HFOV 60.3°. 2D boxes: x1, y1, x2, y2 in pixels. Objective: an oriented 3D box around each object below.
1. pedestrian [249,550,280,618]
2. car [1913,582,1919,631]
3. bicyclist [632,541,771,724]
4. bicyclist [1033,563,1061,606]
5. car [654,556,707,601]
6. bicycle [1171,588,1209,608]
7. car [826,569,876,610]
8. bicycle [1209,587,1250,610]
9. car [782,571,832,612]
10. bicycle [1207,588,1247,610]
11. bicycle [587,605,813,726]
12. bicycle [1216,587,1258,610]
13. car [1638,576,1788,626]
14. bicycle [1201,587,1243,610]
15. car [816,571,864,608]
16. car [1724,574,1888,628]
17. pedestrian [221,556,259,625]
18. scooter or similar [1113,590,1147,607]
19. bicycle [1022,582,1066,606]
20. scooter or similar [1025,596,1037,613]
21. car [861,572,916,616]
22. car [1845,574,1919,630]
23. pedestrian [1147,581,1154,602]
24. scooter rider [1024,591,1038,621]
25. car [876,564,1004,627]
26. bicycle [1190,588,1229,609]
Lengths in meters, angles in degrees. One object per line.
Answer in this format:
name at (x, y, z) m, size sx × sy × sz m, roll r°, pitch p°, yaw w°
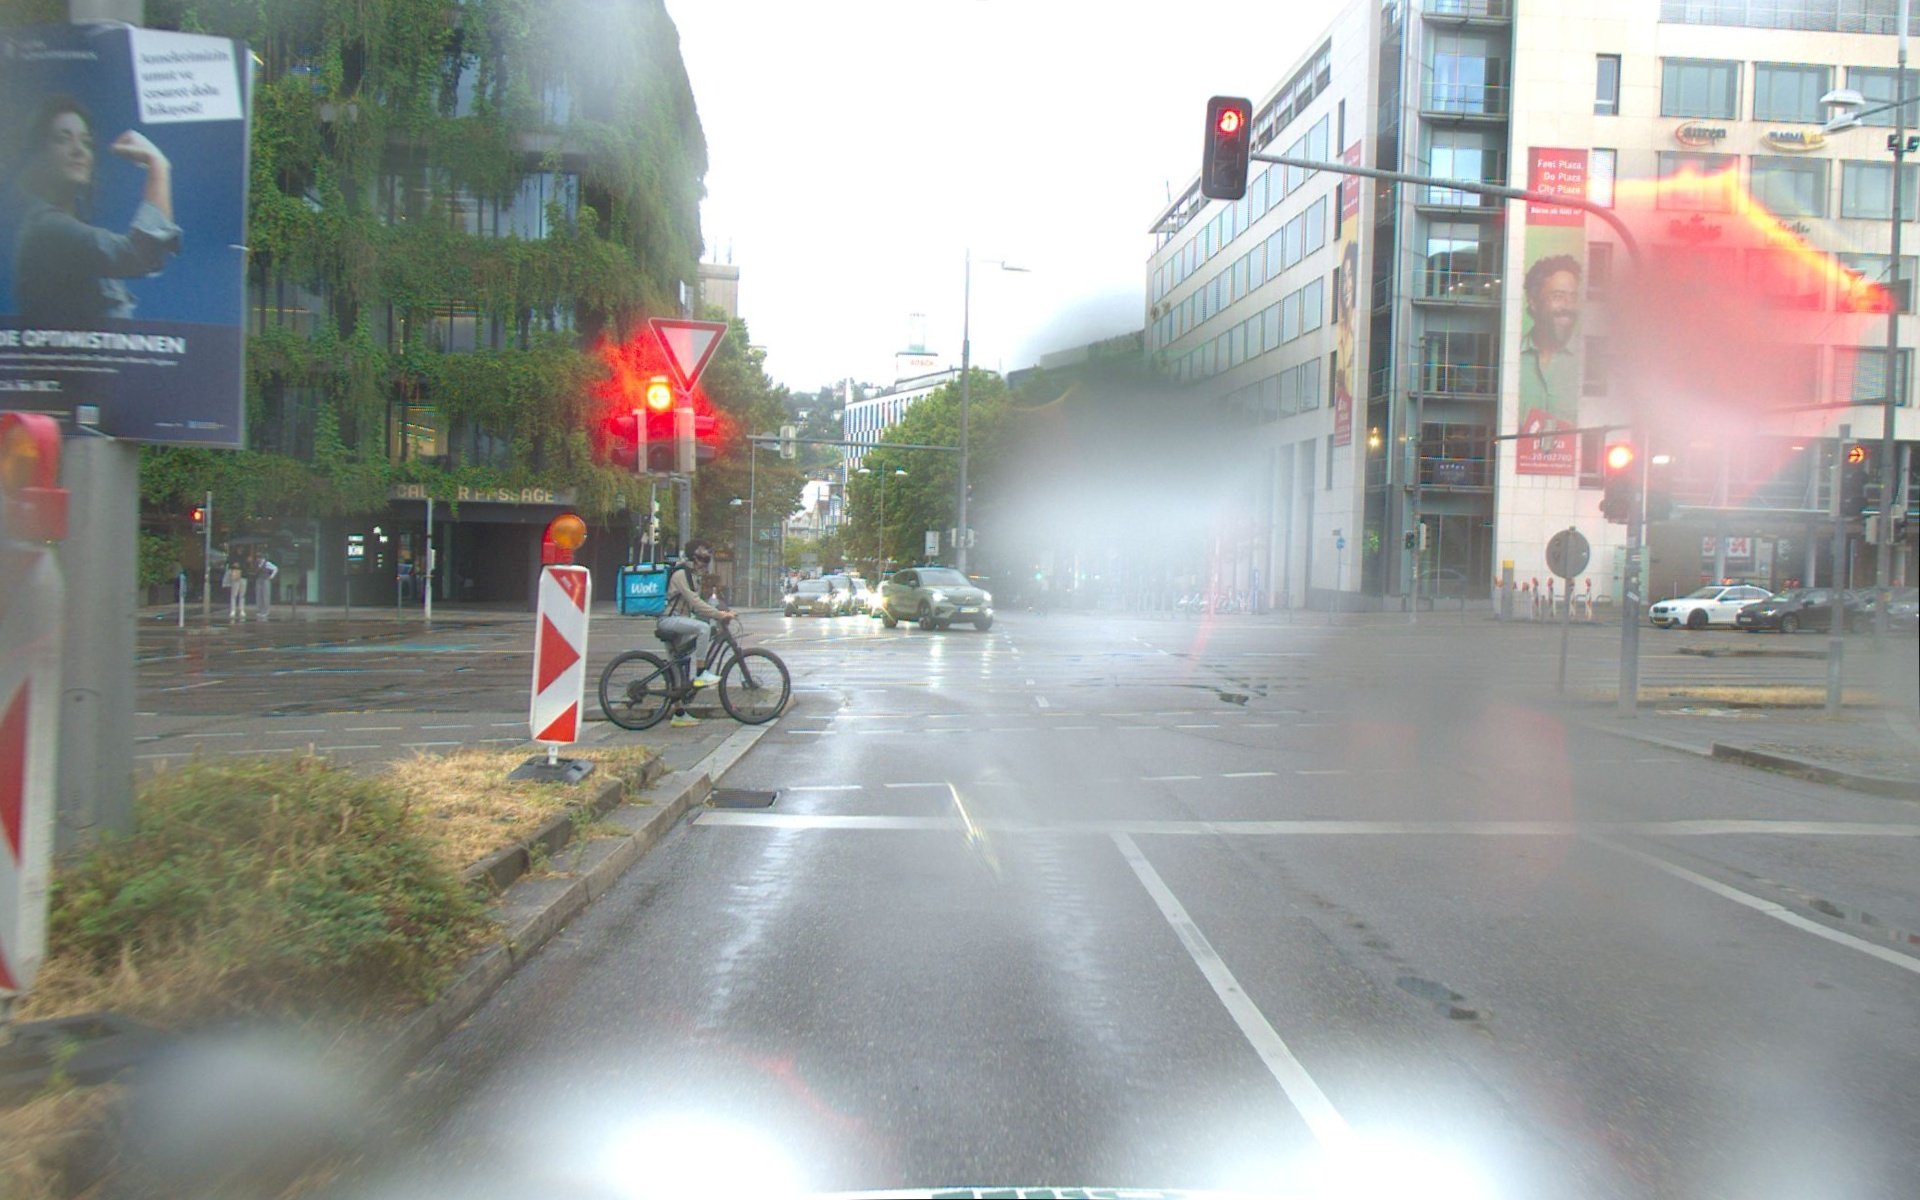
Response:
pedestrian at (-18.593, -0.420, 44.209) m, size 0.731 × 1.788 × 0.969 m, roll 0°, pitch 1°, yaw -24°
car at (29.234, 0.216, 46.444) m, size 4.377 × 1.372 × 1.716 m, roll 1°, pitch 1°, yaw -16°
bicyclist at (-2.547, 0.307, 16.221) m, size 1.273 × 1.733 × 0.845 m, roll 0°, pitch 1°, yaw -15°
bicyclist at (4.114, -0.722, 78.310) m, size 0.787 × 2.009 × 1.097 m, roll 1°, pitch 0°, yaw -41°
car at (-12.517, -0.963, 74.191) m, size 1.955 × 1.928 × 4.461 m, roll 1°, pitch 1°, yaw -5°
bicycle at (10.976, -0.098, 78.954) m, size 1.757 × 0.950 × 0.475 m, roll 1°, pitch 1°, yaw 2°
car at (-5.129, -0.516, 77.182) m, size 2.133 × 1.855 × 4.638 m, roll 1°, pitch 1°, yaw -6°
bicycle at (11.726, -0.068, 72.043) m, size 1.767 × 0.950 × 0.473 m, roll 1°, pitch 1°, yaw 41°
car at (-5.891, -0.346, 63.722) m, size 1.820 × 1.473 × 4.616 m, roll 0°, pitch 1°, yaw -5°
bicycle at (11.752, -0.035, 72.789) m, size 1.767 × 0.950 × 0.473 m, roll 1°, pitch 1°, yaw 41°
bicycle at (-2.555, 0.623, 16.202) m, size 2.110 × 1.122 × 0.844 m, roll 0°, pitch 1°, yaw -16°
bicycle at (11.899, -0.060, 71.080) m, size 1.767 × 0.950 × 0.473 m, roll 1°, pitch 1°, yaw 41°
car at (25.321, 0.031, 55.663) m, size 4.377 × 1.626 × 1.992 m, roll 1°, pitch 1°, yaw -16°
bicycle at (11.151, -0.060, 70.427) m, size 1.767 × 0.950 × 0.473 m, roll 1°, pitch 1°, yaw 41°
car at (-5.153, -0.489, 70.364) m, size 1.821 × 1.473 × 4.614 m, roll 0°, pitch 1°, yaw -7°
car at (26.757, 0.016, 52.353) m, size 4.373 × 1.626 × 1.994 m, roll 1°, pitch 1°, yaw -13°
pedestrian at (-19.142, -0.256, 43.975) m, size 0.923 × 1.788 × 1.163 m, roll 0°, pitch 1°, yaw -24°
scooter or similar at (8.831, -0.066, 85.926) m, size 1.720 × 0.894 × 0.486 m, roll 0°, pitch 0°, yaw -20°
bicycle at (3.969, -0.285, 78.476) m, size 0.787 × 1.136 × 2.222 m, roll 0°, pitch 1°, yaw -41°
scooter or similar at (4.372, 0.275, 101.535) m, size 0.545 × 1.024 × 1.823 m, roll 0°, pitch 0°, yaw -4°
car at (-2.720, -0.248, 62.234) m, size 1.954 × 1.512 × 4.461 m, roll 0°, pitch 2°, yaw -4°
car at (29.293, 0.055, 49.972) m, size 4.377 × 1.626 × 1.992 m, roll 1°, pitch 1°, yaw -16°
pedestrian at (10.974, -0.472, 95.270) m, size 0.346 × 1.194 × 0.414 m, roll 0°, pitch 0°, yaw -6°
scooter rider at (4.369, 0.364, 101.599) m, size 0.747 × 1.805 × 0.795 m, roll 0°, pitch 0°, yaw -4°
car at (-0.605, -0.140, 43.970) m, size 1.965 × 1.577 × 4.527 m, roll 0°, pitch 1°, yaw -21°
bicycle at (11.617, -0.077, 77.115) m, size 1.757 × 0.950 × 0.475 m, roll 1°, pitch 1°, yaw 2°
